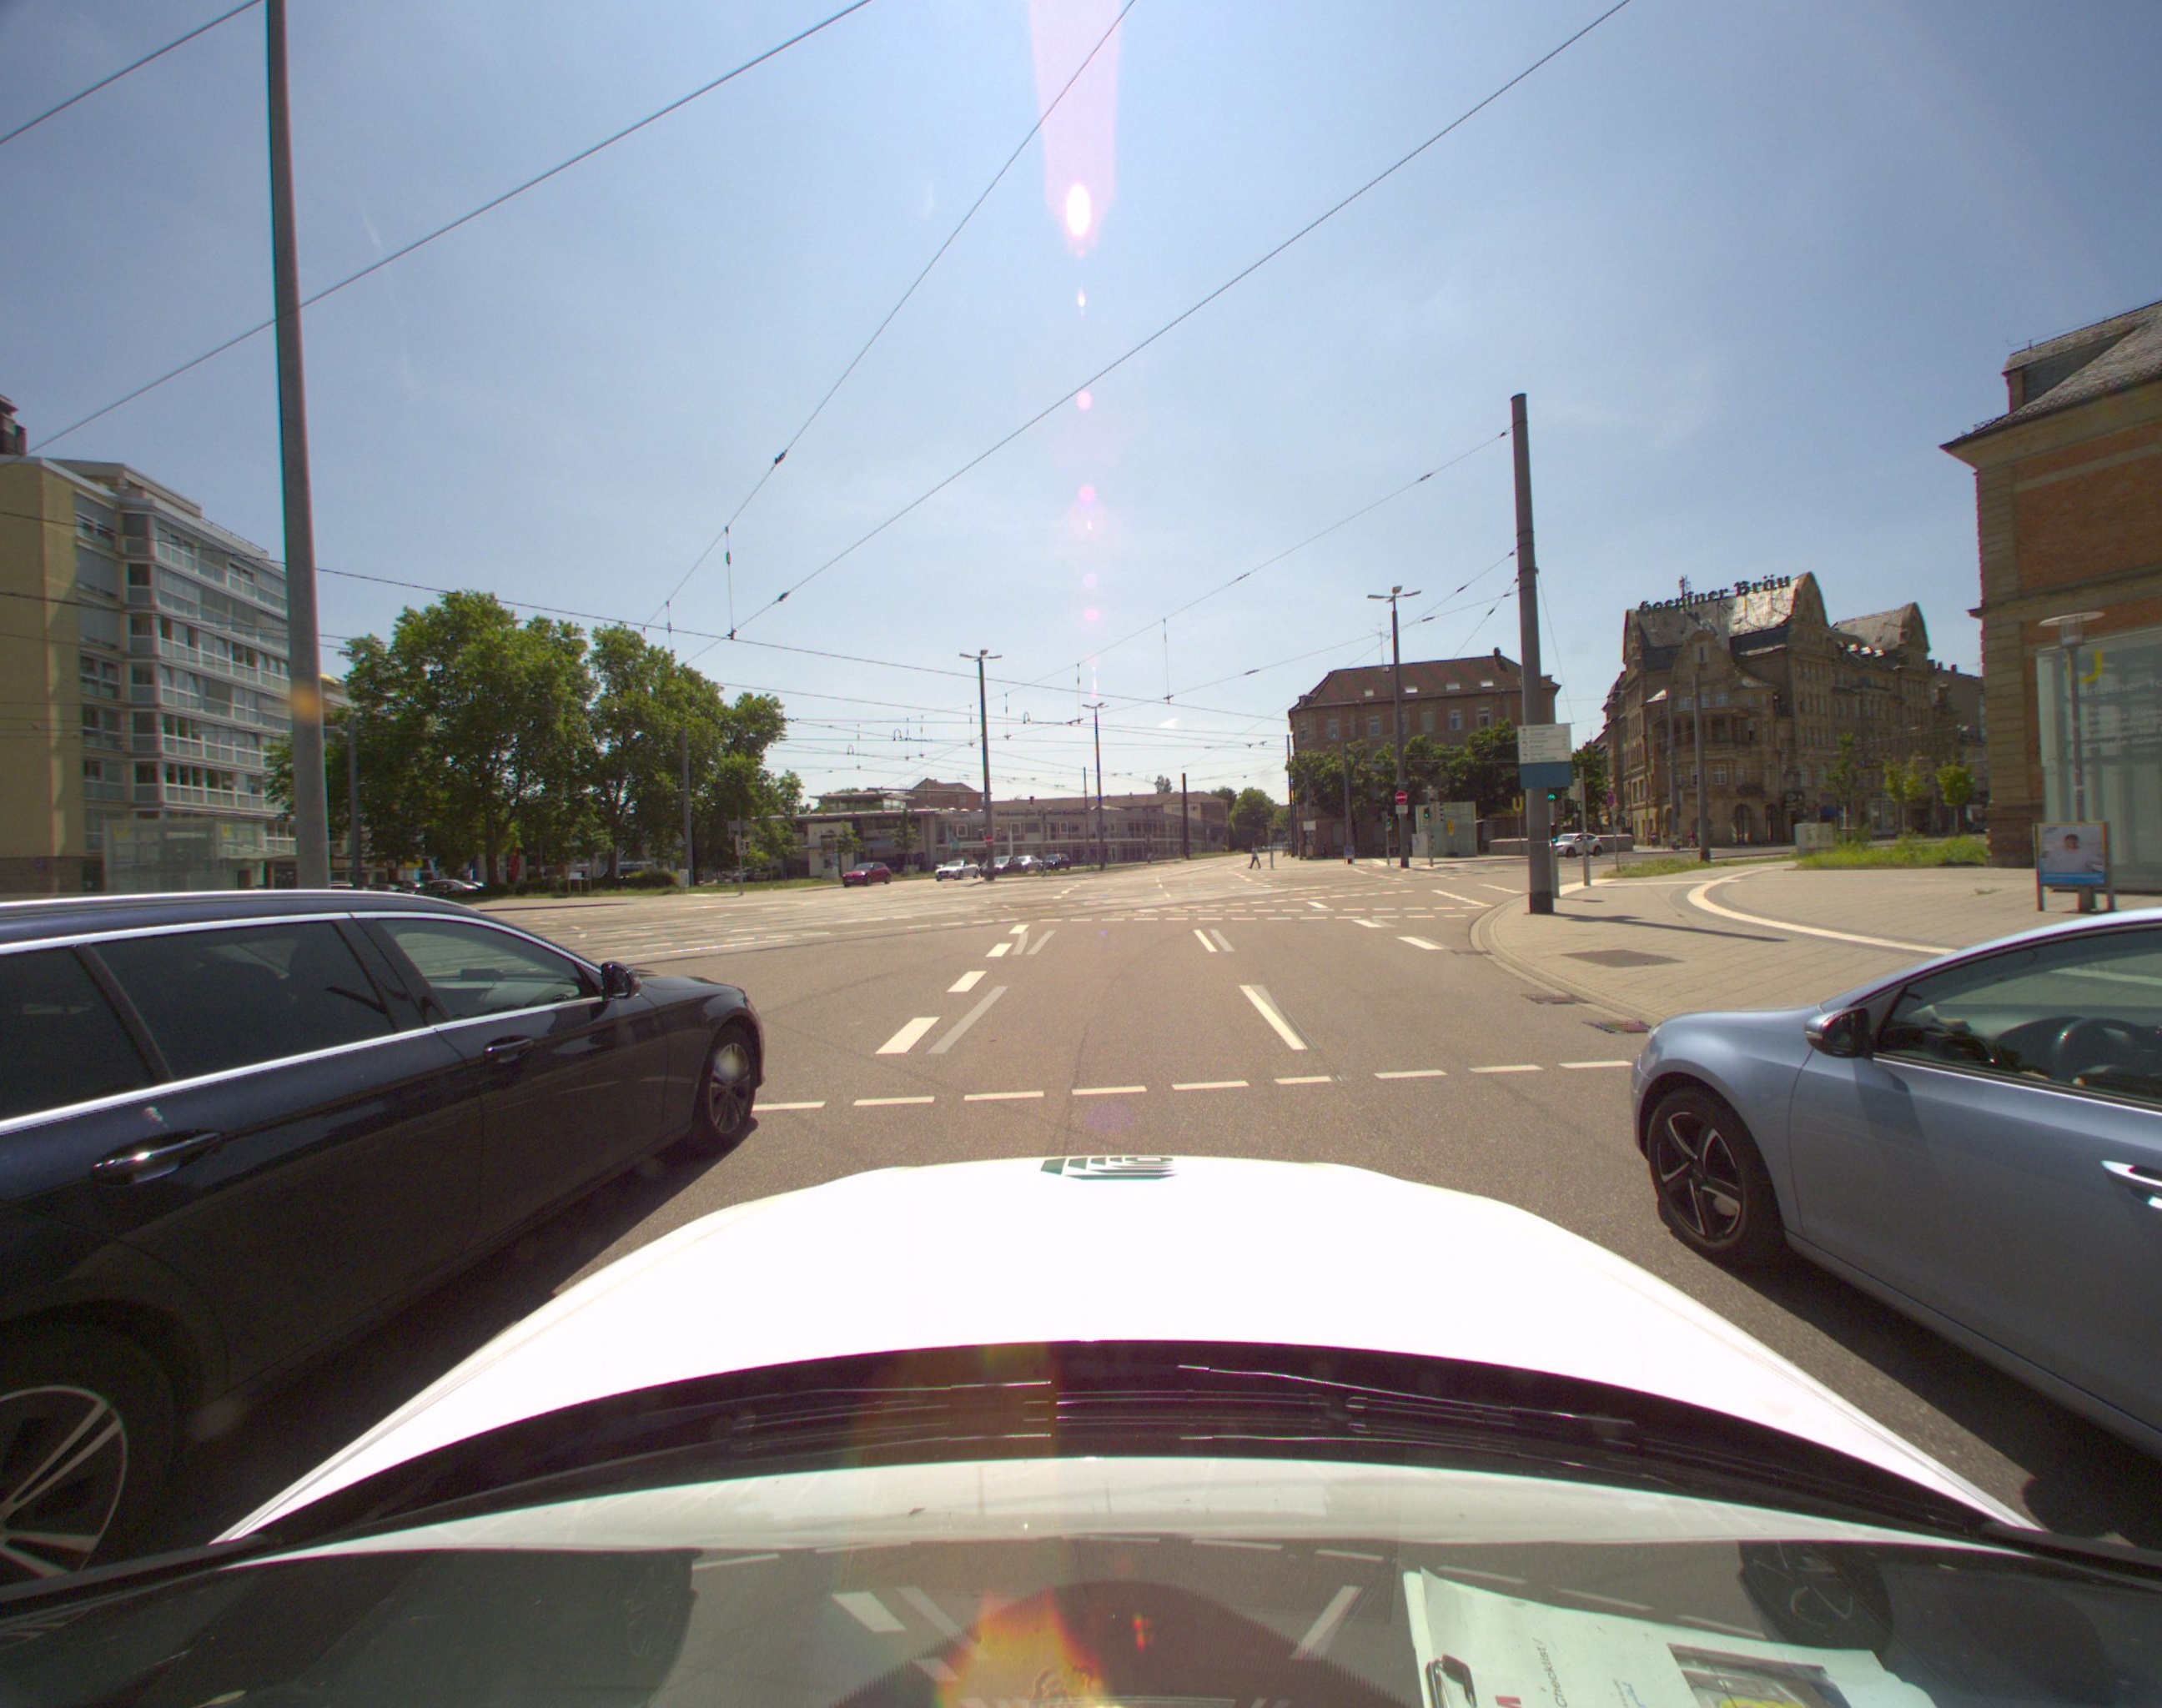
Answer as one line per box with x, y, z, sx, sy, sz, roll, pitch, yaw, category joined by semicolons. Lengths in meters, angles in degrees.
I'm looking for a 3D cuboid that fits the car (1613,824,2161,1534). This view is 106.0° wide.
3.025;0.657;1.463;1.645;1.459;4.006;-1;0;2;car

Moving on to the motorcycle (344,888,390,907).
-41.542;2.513;47.415;1.926;0.961;0.521;-2;0;-30;motorcycle

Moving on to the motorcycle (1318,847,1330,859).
21.673;-0.093;72.587;0.577;1.074;1.948;-2;0;5;motorcycle

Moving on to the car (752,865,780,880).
-36.768;2.126;95.182;1.763;1.510;4.321;-2;0;-4;car

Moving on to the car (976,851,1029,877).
-5.539;0.687;58.259;1.977;1.637;4.869;-2;0;18;car

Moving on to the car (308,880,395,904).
-50.294;2.608;56.266;4.005;1.420;1.984;-2;0;-24;car

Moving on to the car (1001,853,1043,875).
-5.030;0.829;70.028;1.977;1.739;4.564;-2;0;18;car

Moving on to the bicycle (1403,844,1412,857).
28.961;-0.294;72.223;0.547;1.120;1.938;-2;0;17;bicycle

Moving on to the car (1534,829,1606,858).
30.385;-0.667;50.582;4.198;1.605;1.681;-2;0;-24;car

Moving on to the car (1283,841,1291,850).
50.568;-2.117;199.880;1.978;2.181;4.387;-1;-1;16;car

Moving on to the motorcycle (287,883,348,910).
-39.577;2.204;42.235;2.781;1.222;0.969;-2;0;15;motorcycle

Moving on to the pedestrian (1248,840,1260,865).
12.269;-0.118;57.713;0.463;1.708;0.634;-2;0;-28;pedestrian

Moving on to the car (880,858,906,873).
-21.646;1.351;93.918;1.913;1.707;4.001;0;-1;1;car

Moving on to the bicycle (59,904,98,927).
-50.287;3.060;40.869;0.432;1.026;1.436;-2;0;-15;bicycle

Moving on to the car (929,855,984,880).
-8.779;0.925;57.964;2.061;1.580;4.865;-2;0;14;car

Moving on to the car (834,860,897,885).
-14.688;1.220;55.853;1.979;1.465;4.865;-2;0;14;car

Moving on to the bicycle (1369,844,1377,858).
25.805;-0.270;71.978;0.547;1.120;1.828;-2;0;17;bicycle

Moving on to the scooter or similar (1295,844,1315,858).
20.767;-0.284;75.517;1.795;1.181;0.595;-2;0;-24;scooter or similar

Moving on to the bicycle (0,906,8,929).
-51.779;3.043;38.867;0.435;1.026;1.426;-2;0;-43;bicycle

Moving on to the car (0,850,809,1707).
-2.766;0.825;2.752;1.790;1.640;4.809;-1;0;4;car

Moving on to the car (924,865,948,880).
-16.738;2.106;94.185;1.913;1.707;4.001;0;-1;1;car

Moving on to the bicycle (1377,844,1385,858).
26.527;-0.276;72.013;0.547;1.120;1.898;-2;0;17;bicycle

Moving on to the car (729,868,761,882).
-39.391;2.416;95.624;1.760;1.510;4.328;-2;0;2;car

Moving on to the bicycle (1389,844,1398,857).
27.761;-0.282;72.285;0.547;1.120;1.879;-2;0;17;bicycle

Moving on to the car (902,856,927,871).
-19.199;1.138;94.169;1.913;1.707;4.001;0;-1;1;car

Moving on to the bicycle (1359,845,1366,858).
24.969;-0.259;72.239;0.547;1.120;1.828;-2;0;17;bicycle

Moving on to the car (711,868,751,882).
-43.405;2.574;101.025;4.344;1.510;1.754;-2;0;-34;car

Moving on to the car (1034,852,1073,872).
-2.586;0.723;76.873;2.062;1.682;4.869;-2;0;18;car

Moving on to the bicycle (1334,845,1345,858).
23.006;-0.239;72.512;0.548;1.120;1.824;-2;0;7;bicycle
